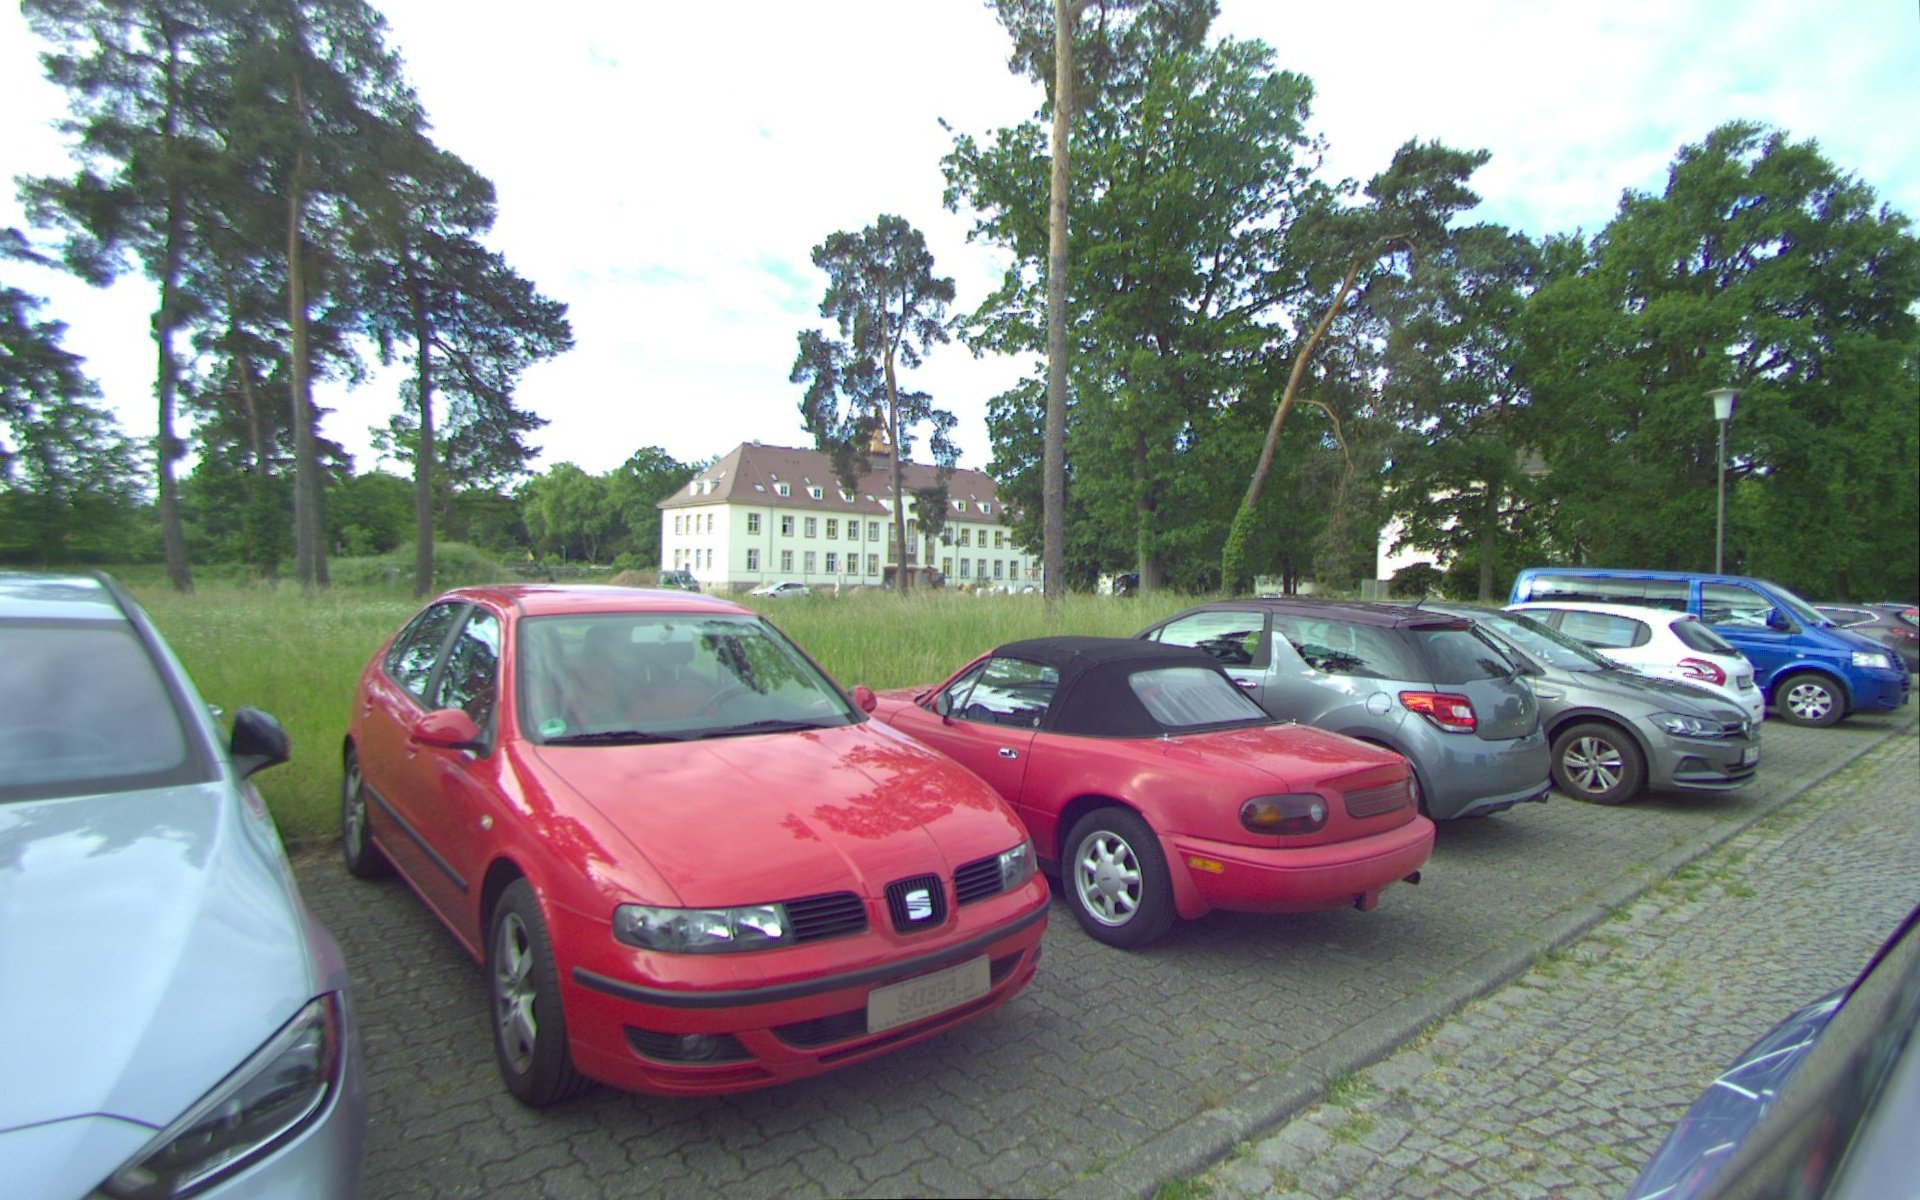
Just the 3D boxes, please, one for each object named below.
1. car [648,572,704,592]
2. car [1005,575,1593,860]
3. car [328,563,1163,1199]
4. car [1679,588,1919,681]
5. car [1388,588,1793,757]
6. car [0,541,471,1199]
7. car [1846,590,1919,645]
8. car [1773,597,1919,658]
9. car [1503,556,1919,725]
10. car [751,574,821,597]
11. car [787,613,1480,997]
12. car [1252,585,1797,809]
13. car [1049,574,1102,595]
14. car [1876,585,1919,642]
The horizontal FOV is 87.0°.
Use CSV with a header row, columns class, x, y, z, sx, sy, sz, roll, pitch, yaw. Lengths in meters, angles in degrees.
class,x,y,z,sx,sy,sz,roll,pitch,yaw
car,-28.402,-1.811,101.051,6.171,1.882,2.304,2,2,41
car,2.300,0.612,7.572,1.768,1.524,3.782,0,1,-42
car,-1.293,0.609,4.253,1.768,1.470,3.970,0,1,-40
car,17.222,0.616,20.474,1.965,1.630,3.995,0,1,-40
car,6.717,0.646,11.039,1.608,1.470,3.408,0,1,-39
car,-2.958,0.606,2.780,1.780,1.501,4.767,0,1,-40
car,32.446,0.600,33.784,1.964,1.784,4.007,1,1,-39
car,24.714,0.709,27.332,1.965,1.549,3.994,0,0,-40
car,10.741,0.415,14.538,1.965,1.963,4.747,0,2,-41
car,-11.517,-0.947,67.067,4.181,1.433,1.886,0,2,-40
car,0.620,0.754,5.462,1.468,1.222,3.599,1,1,-39
car,4.776,0.648,9.036,1.787,1.474,3.850,1,1,-38
car,11.452,-1.537,99.990,5.128,2.039,2.154,0,1,-38
car,35.857,0.517,36.442,1.964,2.039,3.997,1,1,-39
